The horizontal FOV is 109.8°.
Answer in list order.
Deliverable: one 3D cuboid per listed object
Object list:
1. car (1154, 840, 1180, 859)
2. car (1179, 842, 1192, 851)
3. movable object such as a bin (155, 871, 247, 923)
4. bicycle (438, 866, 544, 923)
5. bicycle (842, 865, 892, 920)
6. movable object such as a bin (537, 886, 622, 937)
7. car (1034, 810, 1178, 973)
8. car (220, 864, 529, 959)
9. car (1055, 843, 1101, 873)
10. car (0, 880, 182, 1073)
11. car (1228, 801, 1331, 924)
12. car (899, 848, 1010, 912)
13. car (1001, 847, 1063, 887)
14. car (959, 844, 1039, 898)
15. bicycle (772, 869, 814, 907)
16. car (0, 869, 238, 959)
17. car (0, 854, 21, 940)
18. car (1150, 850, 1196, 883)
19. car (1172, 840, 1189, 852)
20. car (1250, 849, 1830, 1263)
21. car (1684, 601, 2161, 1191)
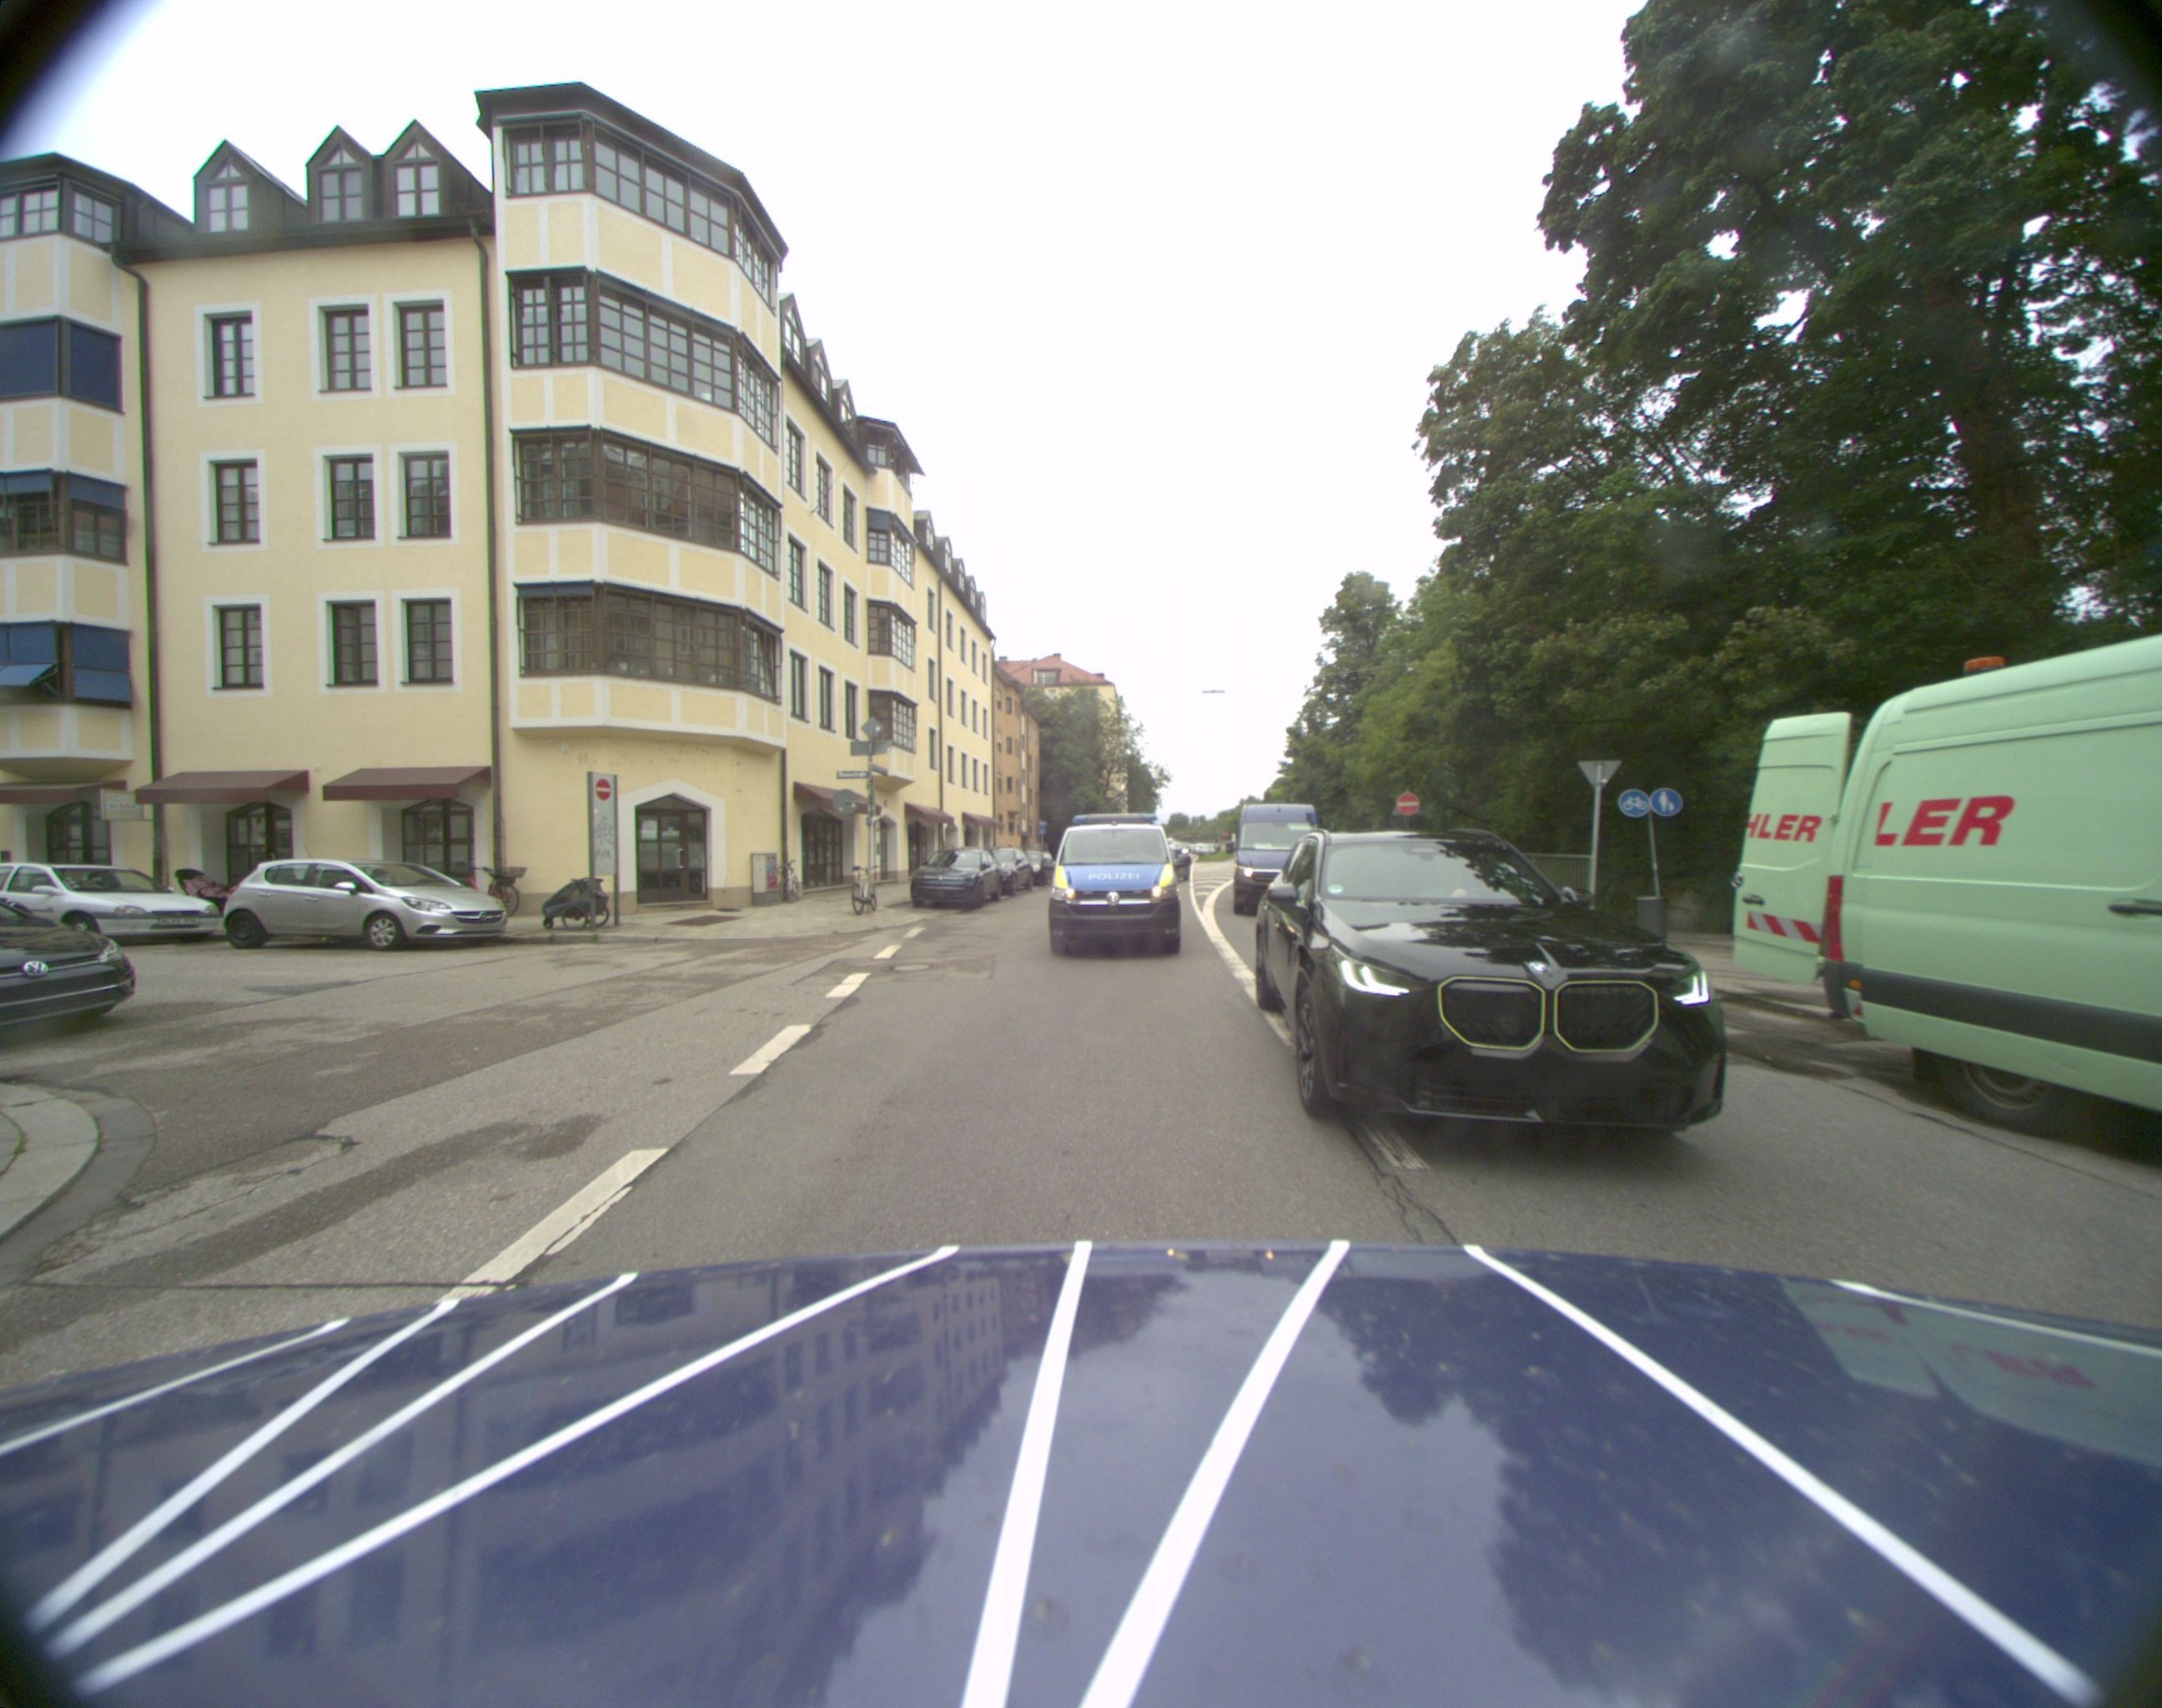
[{"bbox_3d":[7.627,-0.450,66.894,1.997,1.587,4.002,1,1,10],"label":"car"},{"bbox_3d":[16.359,-1.209,118.793,1.836,1.390,4.002,1,1,10],"label":"car"},{"bbox_3d":[-19.282,0.925,16.668,1.125,1.075,0.767,0,2,5],"label":"movable object such as a bin"},{"bbox_3d":[-12.447,0.846,16.041,1.904,1.180,0.515,0,1,5],"label":"bicycle"},{"bbox_3d":[-5.027,0.874,17.948,0.430,1.152,2.053,1,2,5],"label":"bicycle"},{"bbox_3d":[-9.331,1.058,14.170,1.125,0.895,0.684,0,2,5],"label":"movable object such as a bin"},{"bbox_3d":[0.619,0.452,12.596,1.826,2.087,5.635,-1,1,6],"label":"car"},{"bbox_3d":[-11.568,0.899,12.580,3.741,1.431,1.753,0,-2,8],"label":"car"},{"bbox_3d":[-0.106,0.163,44.929,1.882,1.642,5.619,1,1,8],"label":"car"},{"bbox_3d":[-10.550,1.019,6.393,3.881,1.479,1.892,0,2,4],"label":"car"},{"bbox_3d":[4.831,0.089,18.515,2.003,2.477,6.238,-1,2,15],"label":"car"},{"bbox_3d":[-3.490,0.664,21.904,2.111,1.613,4.497,-1,1,4],"label":"car"},{"bbox_3d":[-2.016,0.495,32.177,1.763,1.514,3.934,1,1,9],"label":"car"},{"bbox_3d":[-2.812,0.534,27.109,1.816,1.580,4.165,4,2,7],"label":"car"},{"bbox_3d":[-7.649,0.885,20.249,0.262,0.897,1.696,4,2,6],"label":"bicycle"},{"bbox_3d":[-17.078,0.981,13.131,3.451,1.330,1.640,0,2,7],"label":"car"},{"bbox_3d":[-22.084,0.832,13.507,4.024,1.575,1.985,-1,2,6],"label":"car"},{"bbox_3d":[3.834,0.485,31.333,1.494,1.207,3.614,-1,1,13],"label":"car"},{"bbox_3d":[11.958,-0.963,91.272,1.836,1.390,4.002,1,1,10],"label":"car"},{"bbox_3d":[2.299,0.791,5.257,1.920,1.557,4.296,0,2,9],"label":"car"},{"bbox_3d":[5.719,0.178,2.697,2.146,2.557,6.795,-1,1,4],"label":"car"}]
